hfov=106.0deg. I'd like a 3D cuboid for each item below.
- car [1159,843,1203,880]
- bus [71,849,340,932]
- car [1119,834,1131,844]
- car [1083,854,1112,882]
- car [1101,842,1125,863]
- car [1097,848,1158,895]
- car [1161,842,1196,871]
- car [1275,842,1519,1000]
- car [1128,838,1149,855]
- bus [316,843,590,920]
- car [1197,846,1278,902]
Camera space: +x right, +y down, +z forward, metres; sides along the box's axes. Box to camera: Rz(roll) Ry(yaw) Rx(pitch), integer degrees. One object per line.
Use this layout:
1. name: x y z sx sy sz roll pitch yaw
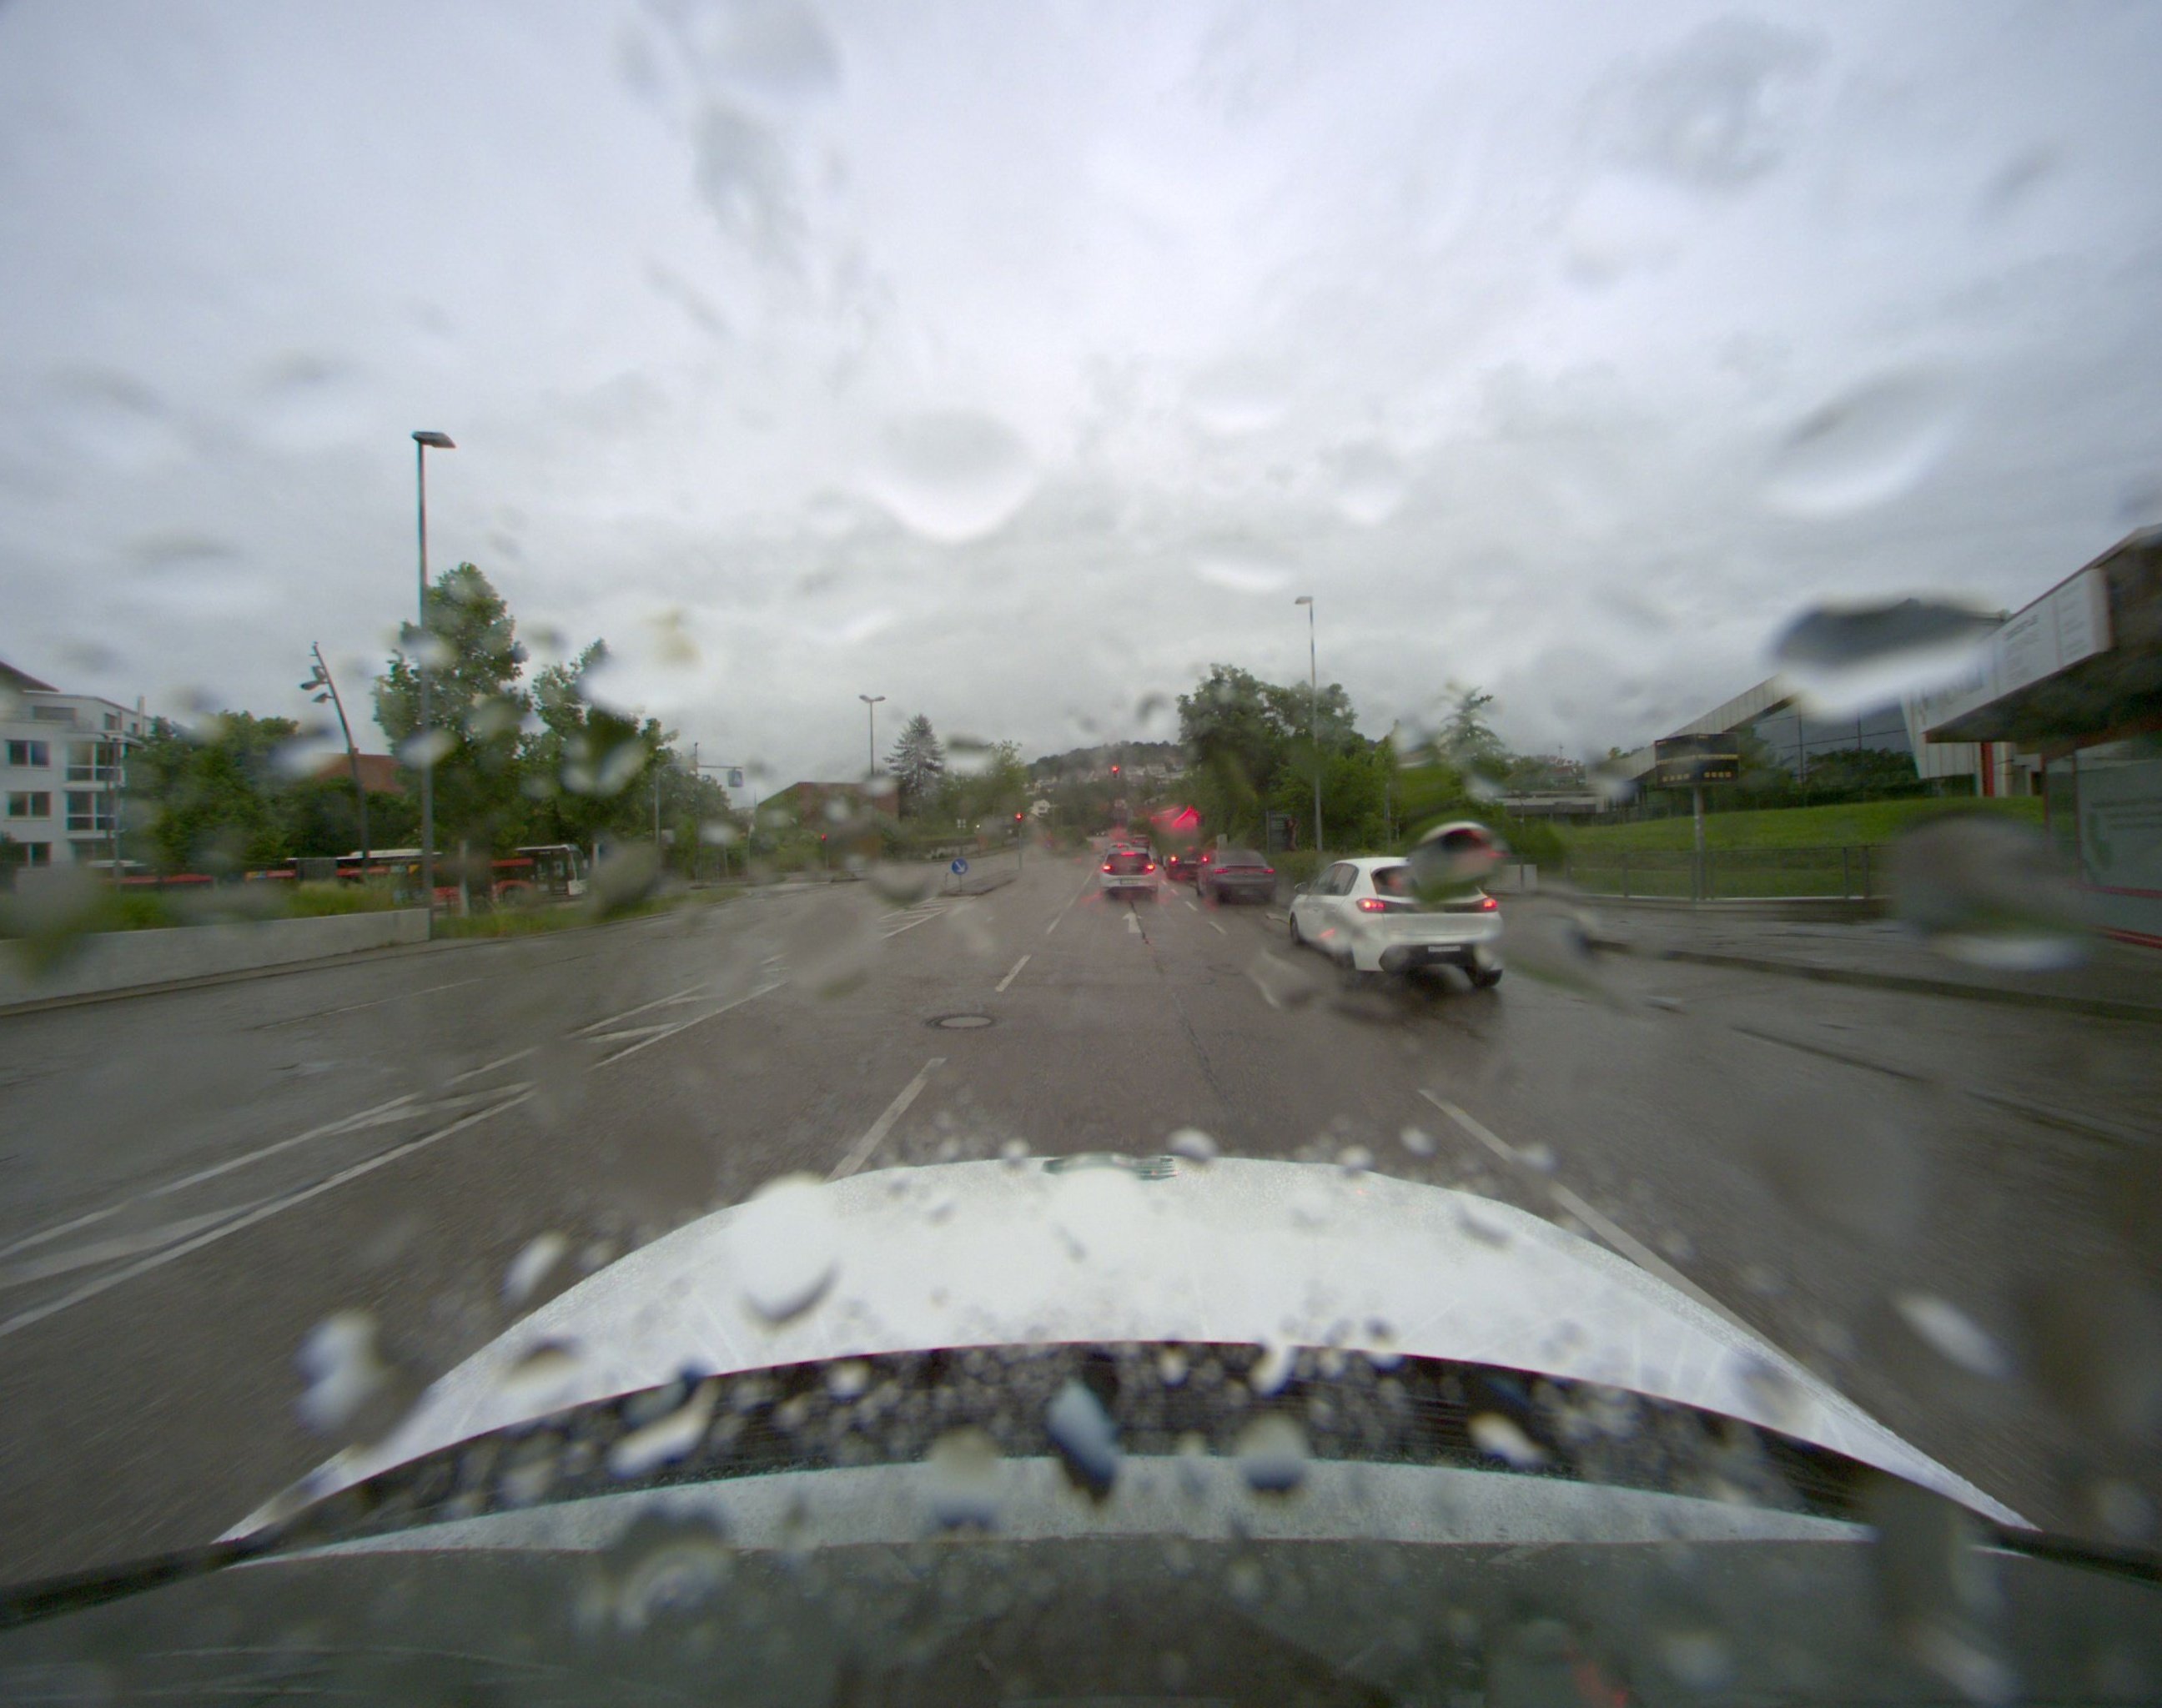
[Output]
1. car: 4.482 0.365 36.923 1.641 1.485 3.367 -3 -3 2
2. bus: -39.444 1.587 37.155 7.859 3.281 2.717 -2 -3 -28
3. car: 6.073 -2.042 112.938 1.363 1.157 2.424 -3 -2 -2
4. car: 0.768 0.653 37.508 1.208 1.156 2.270 -3 -3 1
5. car: 1.989 -0.059 50.120 1.379 1.126 2.612 -3 -3 4
6. car: 1.466 0.551 25.568 1.734 1.296 3.336 -3 -2 3
7. car: 5.351 0.183 45.050 1.559 1.397 3.959 -3 -3 2
8. car: 3.772 0.672 10.462 1.684 1.519 3.935 -2 2 2
9. car: 5.916 -0.770 84.759 1.790 1.569 3.523 -3 -3 -1
10. bus: -30.969 1.308 40.884 10.425 3.281 2.839 -2 -3 -24
11. car: 4.425 0.523 23.450 1.728 1.387 3.353 -1 2 0
